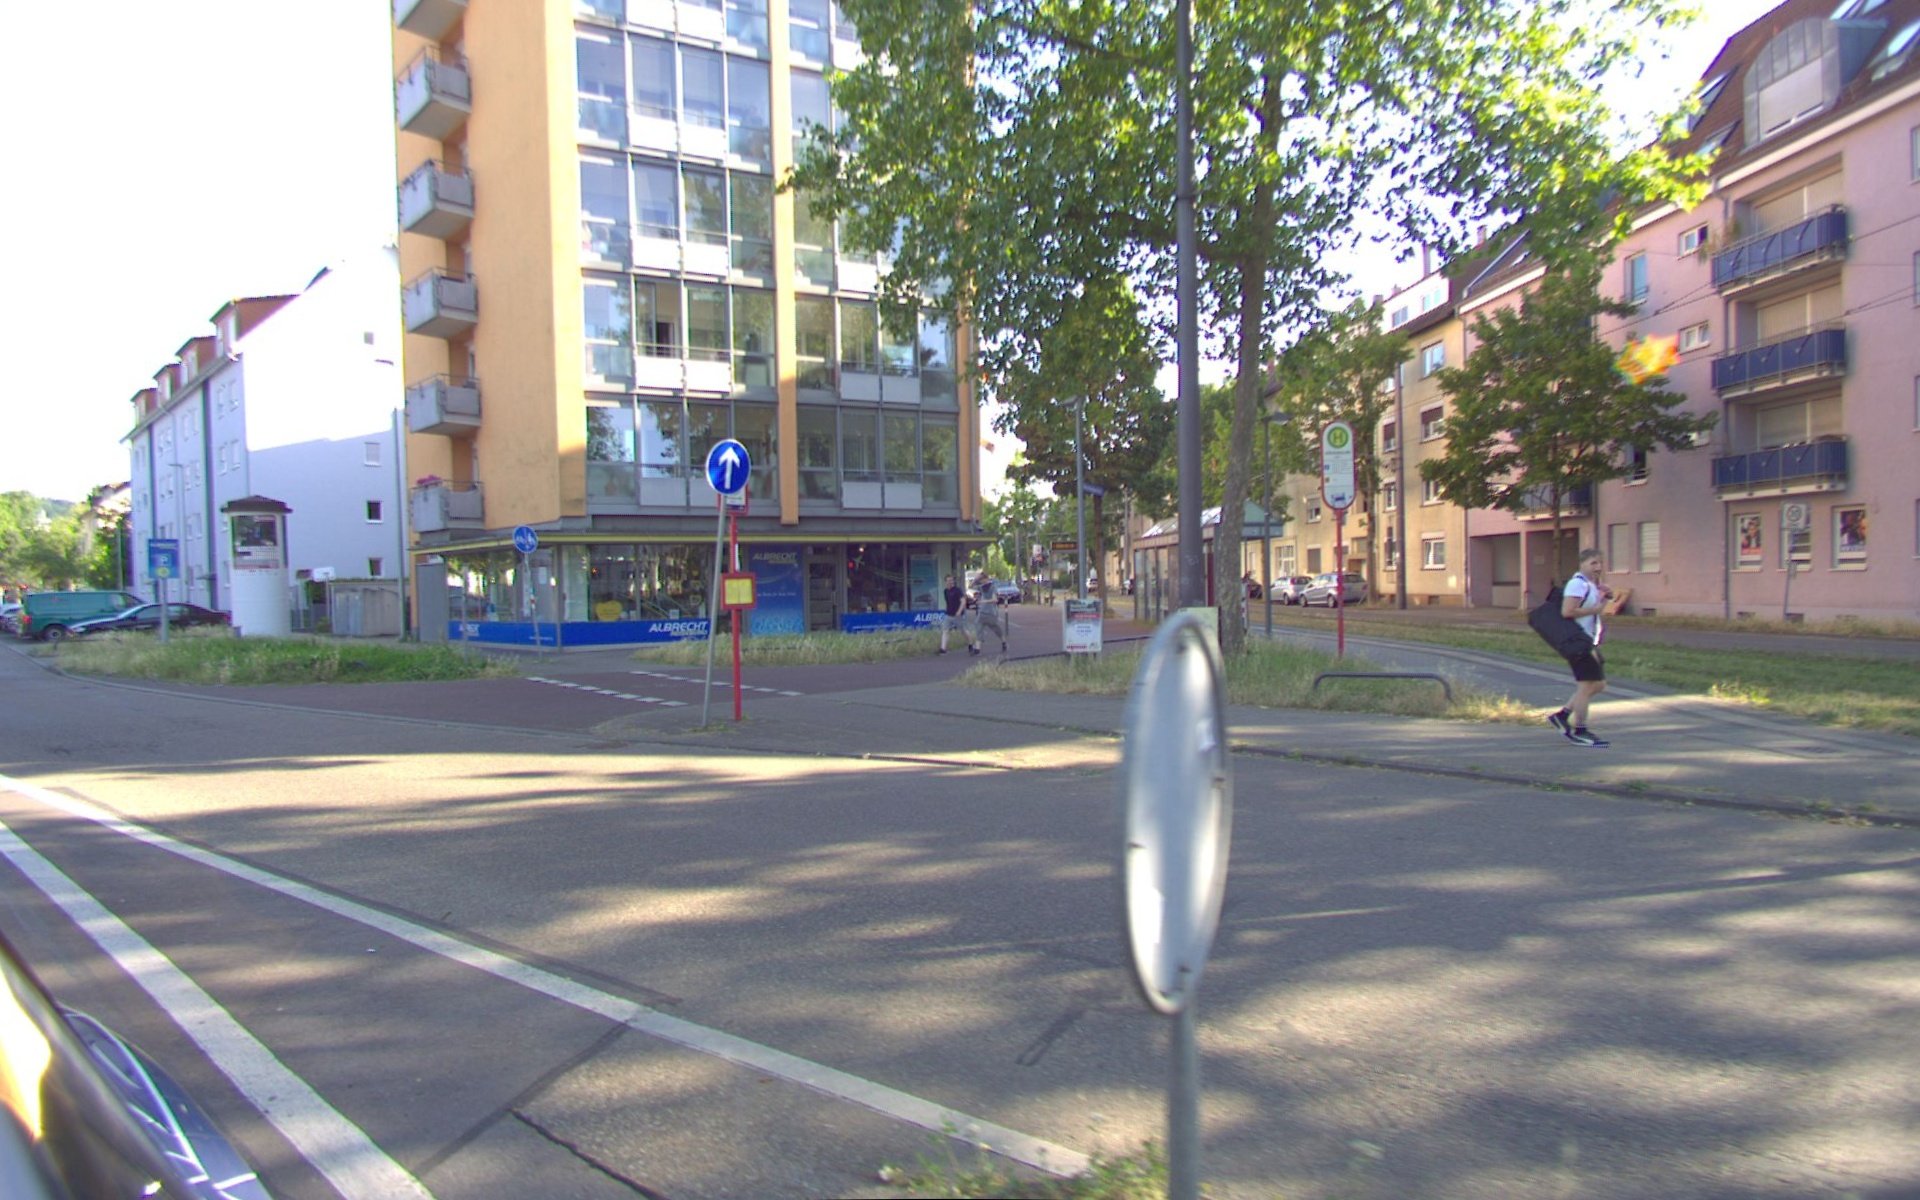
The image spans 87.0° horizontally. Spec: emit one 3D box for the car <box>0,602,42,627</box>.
[{"bbox_3d":[-66.724,1.042,70.356,4.199,1.584,1.868,-3,2,-44],"label":"car"}]

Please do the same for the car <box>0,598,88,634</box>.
[{"bbox_3d":[-49.416,0.837,54.141,4.061,1.785,1.758,-3,2,-44],"label":"car"}]

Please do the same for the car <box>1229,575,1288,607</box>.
[{"bbox_3d":[16.626,-0.538,56.557,1.911,1.718,4.115,-1,2,-3],"label":"car"}]

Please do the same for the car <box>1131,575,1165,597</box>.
[{"bbox_3d":[15.464,-1.178,83.303,1.771,1.718,4.171,-1,2,-3],"label":"car"}]

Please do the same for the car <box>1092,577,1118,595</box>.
[{"bbox_3d":[14.688,-1.468,102.834,1.911,1.718,4.003,-1,2,-3],"label":"car"}]

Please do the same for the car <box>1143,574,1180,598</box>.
[{"bbox_3d":[15.504,-1.108,78.113,1.808,1.718,4.059,-1,2,-3],"label":"car"}]

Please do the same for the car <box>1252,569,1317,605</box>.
[{"bbox_3d":[16.595,-0.685,51.938,1.911,1.718,3.828,-1,2,-3],"label":"car"}]

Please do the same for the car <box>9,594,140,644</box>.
[{"bbox_3d":[-36.472,0.725,41.743,3.941,1.829,2.002,-3,2,-44],"label":"car"}]

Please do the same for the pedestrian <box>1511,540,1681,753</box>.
[{"bbox_3d":[5.545,0.370,8.897,1.080,1.750,0.897,-1,2,20],"label":"pedestrian"}]

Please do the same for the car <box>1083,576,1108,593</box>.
[{"bbox_3d":[14.476,-1.631,108.429,1.911,1.718,4.372,-1,2,-3],"label":"car"}]

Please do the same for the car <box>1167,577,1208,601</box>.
[{"bbox_3d":[15.943,-0.820,71.011,1.741,1.588,4.050,-1,2,-3],"label":"car"}]

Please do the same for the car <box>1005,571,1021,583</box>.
[{"bbox_3d":[7.928,-3.438,151.244,1.911,1.718,4.372,-1,2,-3],"label":"car"}]

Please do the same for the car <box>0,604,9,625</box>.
[{"bbox_3d":[-77.944,1.207,80.382,3.490,1.584,1.868,-3,2,-44],"label":"car"}]

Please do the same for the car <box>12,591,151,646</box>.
[{"bbox_3d":[-34.574,0.676,39.889,2.001,1.962,3.942,0,2,45],"label":"car"}]

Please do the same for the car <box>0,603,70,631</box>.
[{"bbox_3d":[-58.916,1.084,63.709,4.199,1.584,1.868,-3,2,-44],"label":"car"}]

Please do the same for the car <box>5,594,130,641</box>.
[{"bbox_3d":[-38.464,0.708,43.654,3.941,1.829,2.002,-3,2,-44],"label":"car"}]

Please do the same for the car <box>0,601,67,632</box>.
[{"bbox_3d":[-59.049,1.053,63.762,4.016,1.764,1.900,-3,2,-44],"label":"car"}]

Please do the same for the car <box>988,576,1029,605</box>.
[{"bbox_3d":[2.900,-0.608,61.338,2.020,1.588,4.050,-1,2,-3],"label":"car"}]

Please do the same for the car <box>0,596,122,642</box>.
[{"bbox_3d":[-40.194,0.806,45.243,4.003,1.829,1.938,-3,2,-44],"label":"car"}]

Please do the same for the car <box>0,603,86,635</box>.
[{"bbox_3d":[-51.408,1.025,56.247,4.199,1.584,1.868,-3,2,-44],"label":"car"}]

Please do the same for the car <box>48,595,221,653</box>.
[{"bbox_3d":[-27.656,0.753,34.037,4.361,1.674,2.003,-3,2,-40],"label":"car"}]

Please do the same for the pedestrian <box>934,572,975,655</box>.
[{"bbox_3d":[-0.112,0.290,21.871,0.803,1.763,0.538,-1,1,6],"label":"pedestrian"}]

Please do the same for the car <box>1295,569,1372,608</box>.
[{"bbox_3d":[17.416,-0.565,47.381,1.911,1.718,4.115,-1,2,-3],"label":"car"}]

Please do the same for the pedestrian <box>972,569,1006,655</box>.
[{"bbox_3d":[0.608,0.240,21.130,0.622,1.763,0.689,-1,1,6],"label":"pedestrian"}]
